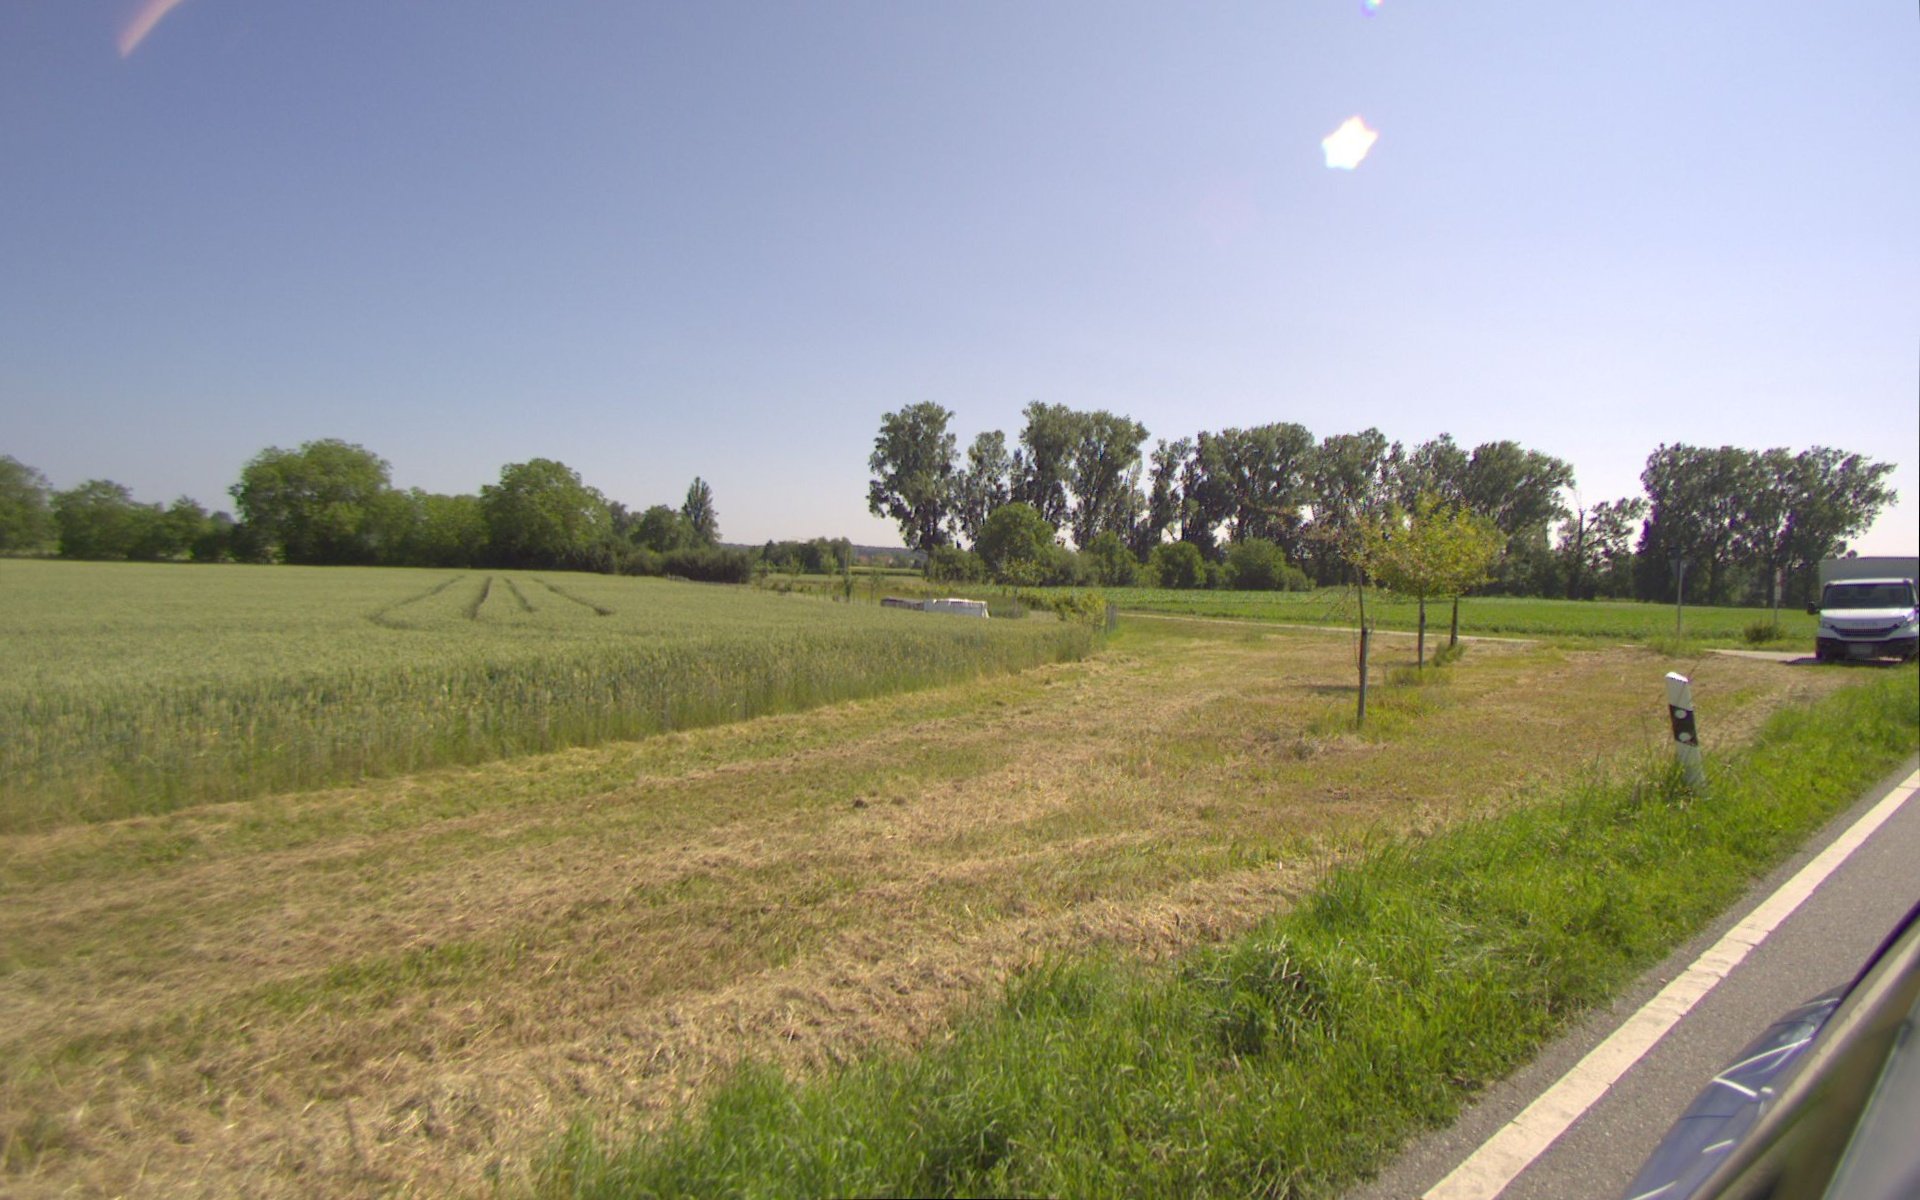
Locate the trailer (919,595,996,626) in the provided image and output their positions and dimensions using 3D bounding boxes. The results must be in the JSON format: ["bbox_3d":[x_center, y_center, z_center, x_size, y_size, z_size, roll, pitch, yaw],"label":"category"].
[{"bbox_3d":[-0.150,0.384,41.318,1.630,1.204,3.601,0,0,-28],"label":"trailer"}]

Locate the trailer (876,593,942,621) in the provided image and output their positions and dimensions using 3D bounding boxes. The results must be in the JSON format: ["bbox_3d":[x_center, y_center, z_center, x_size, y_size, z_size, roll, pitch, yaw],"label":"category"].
[{"bbox_3d":[-2.365,0.297,45.923,1.630,1.204,3.554,0,1,-28],"label":"trailer"}]

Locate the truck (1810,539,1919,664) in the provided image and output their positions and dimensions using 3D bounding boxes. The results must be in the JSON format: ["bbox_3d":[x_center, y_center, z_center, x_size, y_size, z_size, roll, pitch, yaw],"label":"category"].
[{"bbox_3d":[24.848,0.037,27.085,6.890,2.980,2.338,0,-1,-43],"label":"truck"}]
